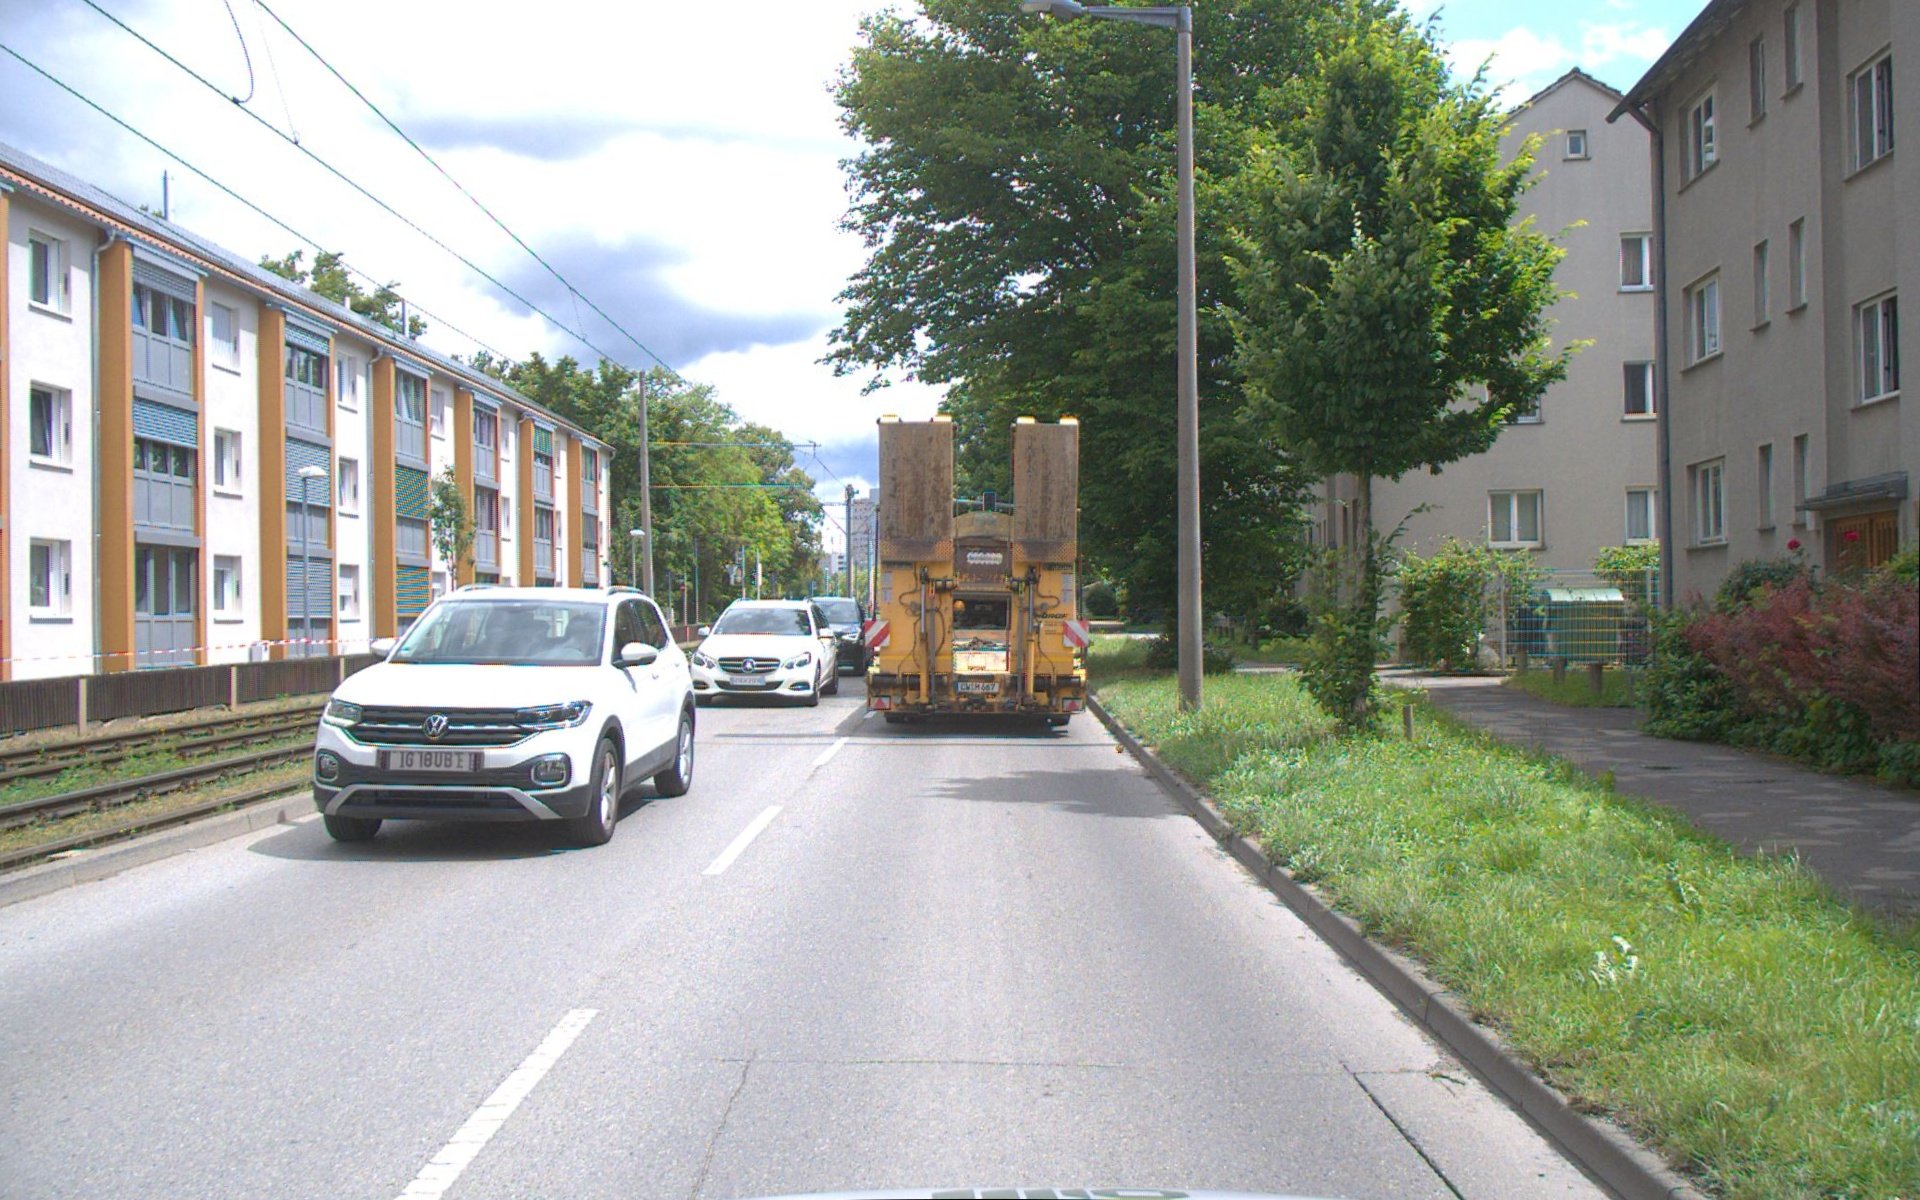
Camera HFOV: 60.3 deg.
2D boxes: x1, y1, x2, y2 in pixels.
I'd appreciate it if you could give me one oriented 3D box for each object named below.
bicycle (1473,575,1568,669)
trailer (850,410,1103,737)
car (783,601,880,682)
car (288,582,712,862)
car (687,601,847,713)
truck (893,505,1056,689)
[{"bbox_3d":[9.884,0.382,29.212,1.319,1.601,1.072,-1,0,3],"label":"bicycle"},{"bbox_3d":[0.194,-0.307,23.808,2.765,3.585,11.051,1,0,0],"label":"trailer"},{"bbox_3d":[-2.588,0.806,34.040,1.616,1.547,3.866,0,0,1],"label":"car"},{"bbox_3d":[-2.911,0.694,11.367,1.682,1.579,3.918,0,0,2],"label":"car"},{"bbox_3d":[-2.816,0.783,25.044,1.840,1.507,4.529,1,0,0],"label":"car"},{"bbox_3d":[0.322,-0.062,33.160,2.857,3.222,7.681,1,0,1],"label":"truck"}]
